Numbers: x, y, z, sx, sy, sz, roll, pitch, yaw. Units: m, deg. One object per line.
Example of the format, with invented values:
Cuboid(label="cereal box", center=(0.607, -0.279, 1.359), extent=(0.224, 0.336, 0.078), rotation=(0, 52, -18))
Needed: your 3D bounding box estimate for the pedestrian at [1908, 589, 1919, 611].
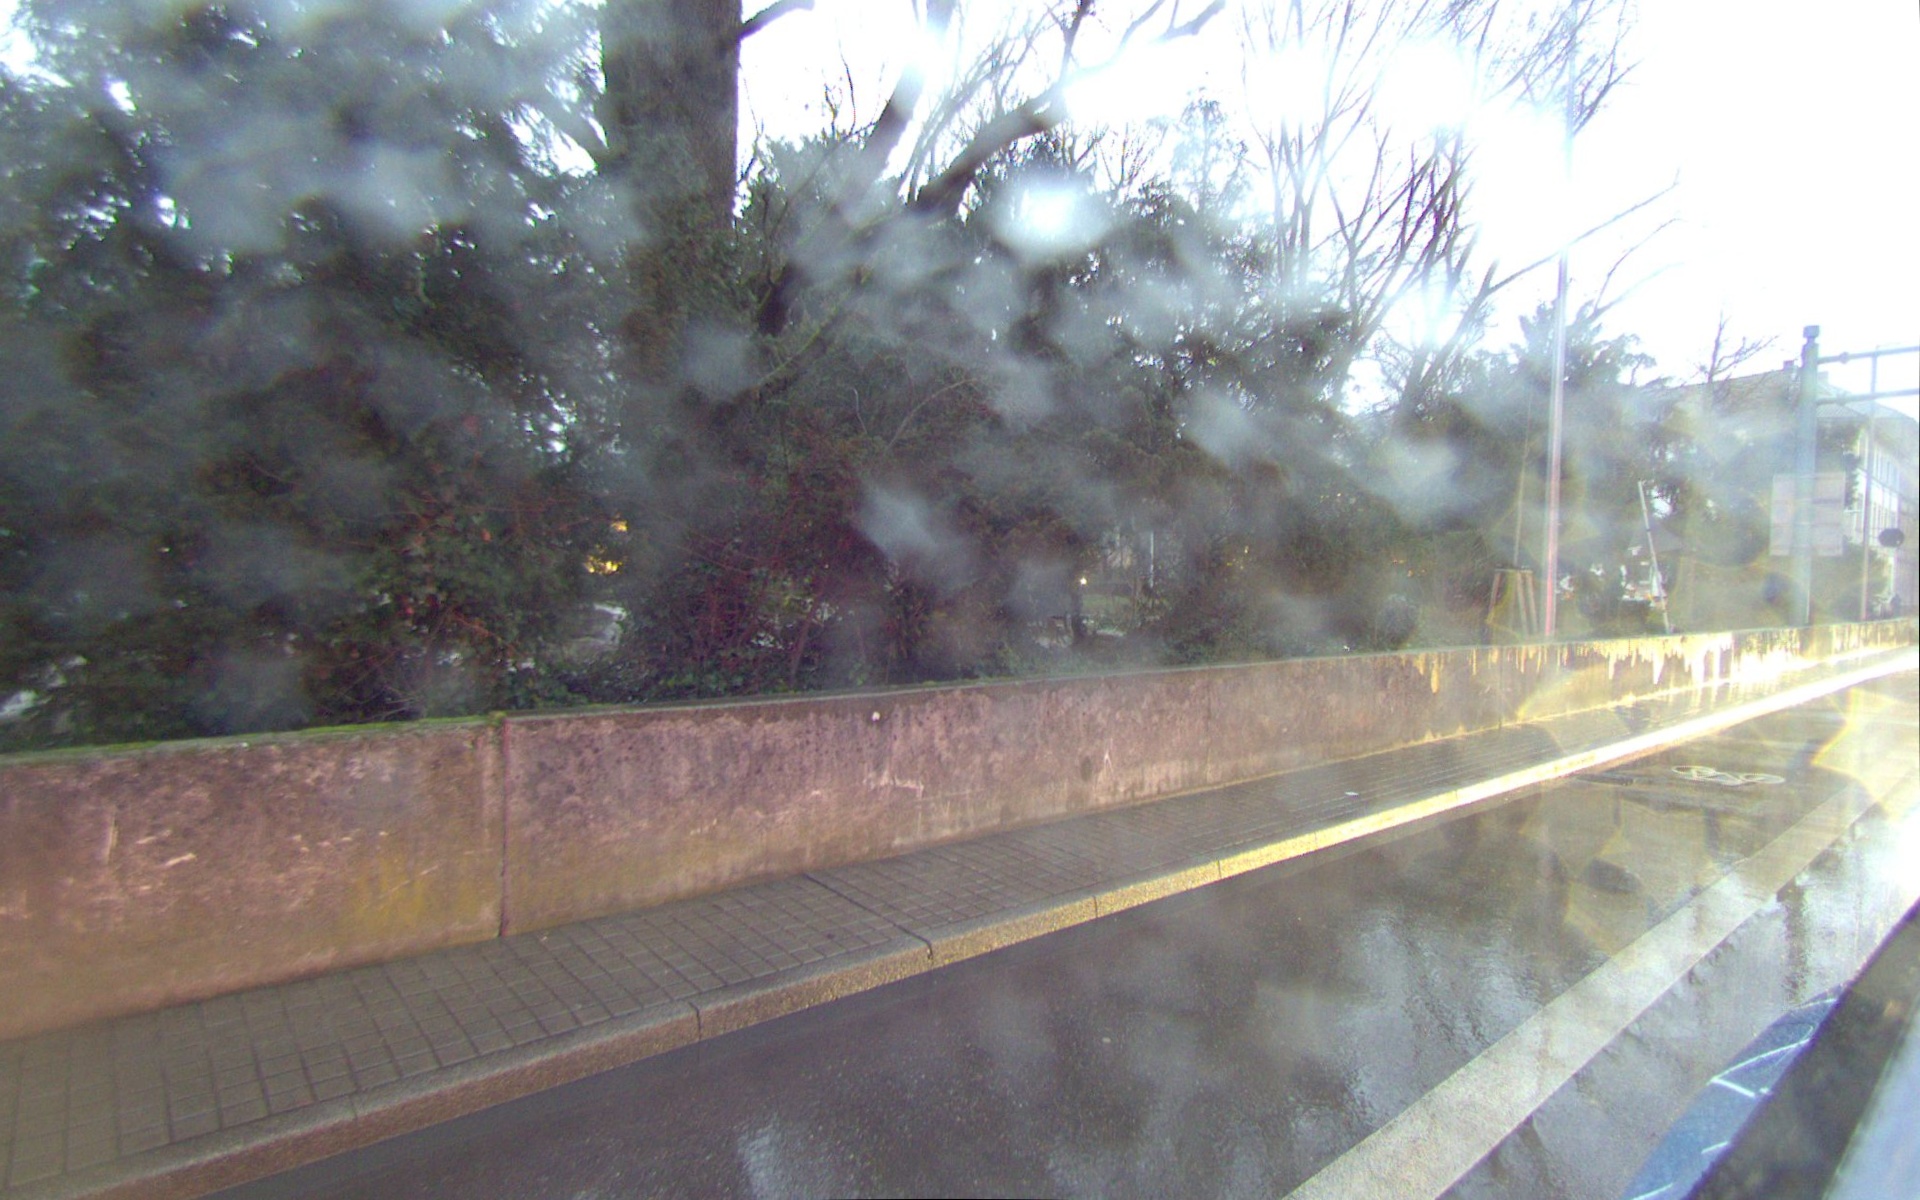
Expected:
Cuboid(label="pedestrian", center=(67.311, -0.015, 71.411), extent=(0.577, 1.529, 0.520), rotation=(0, 2, -41))
